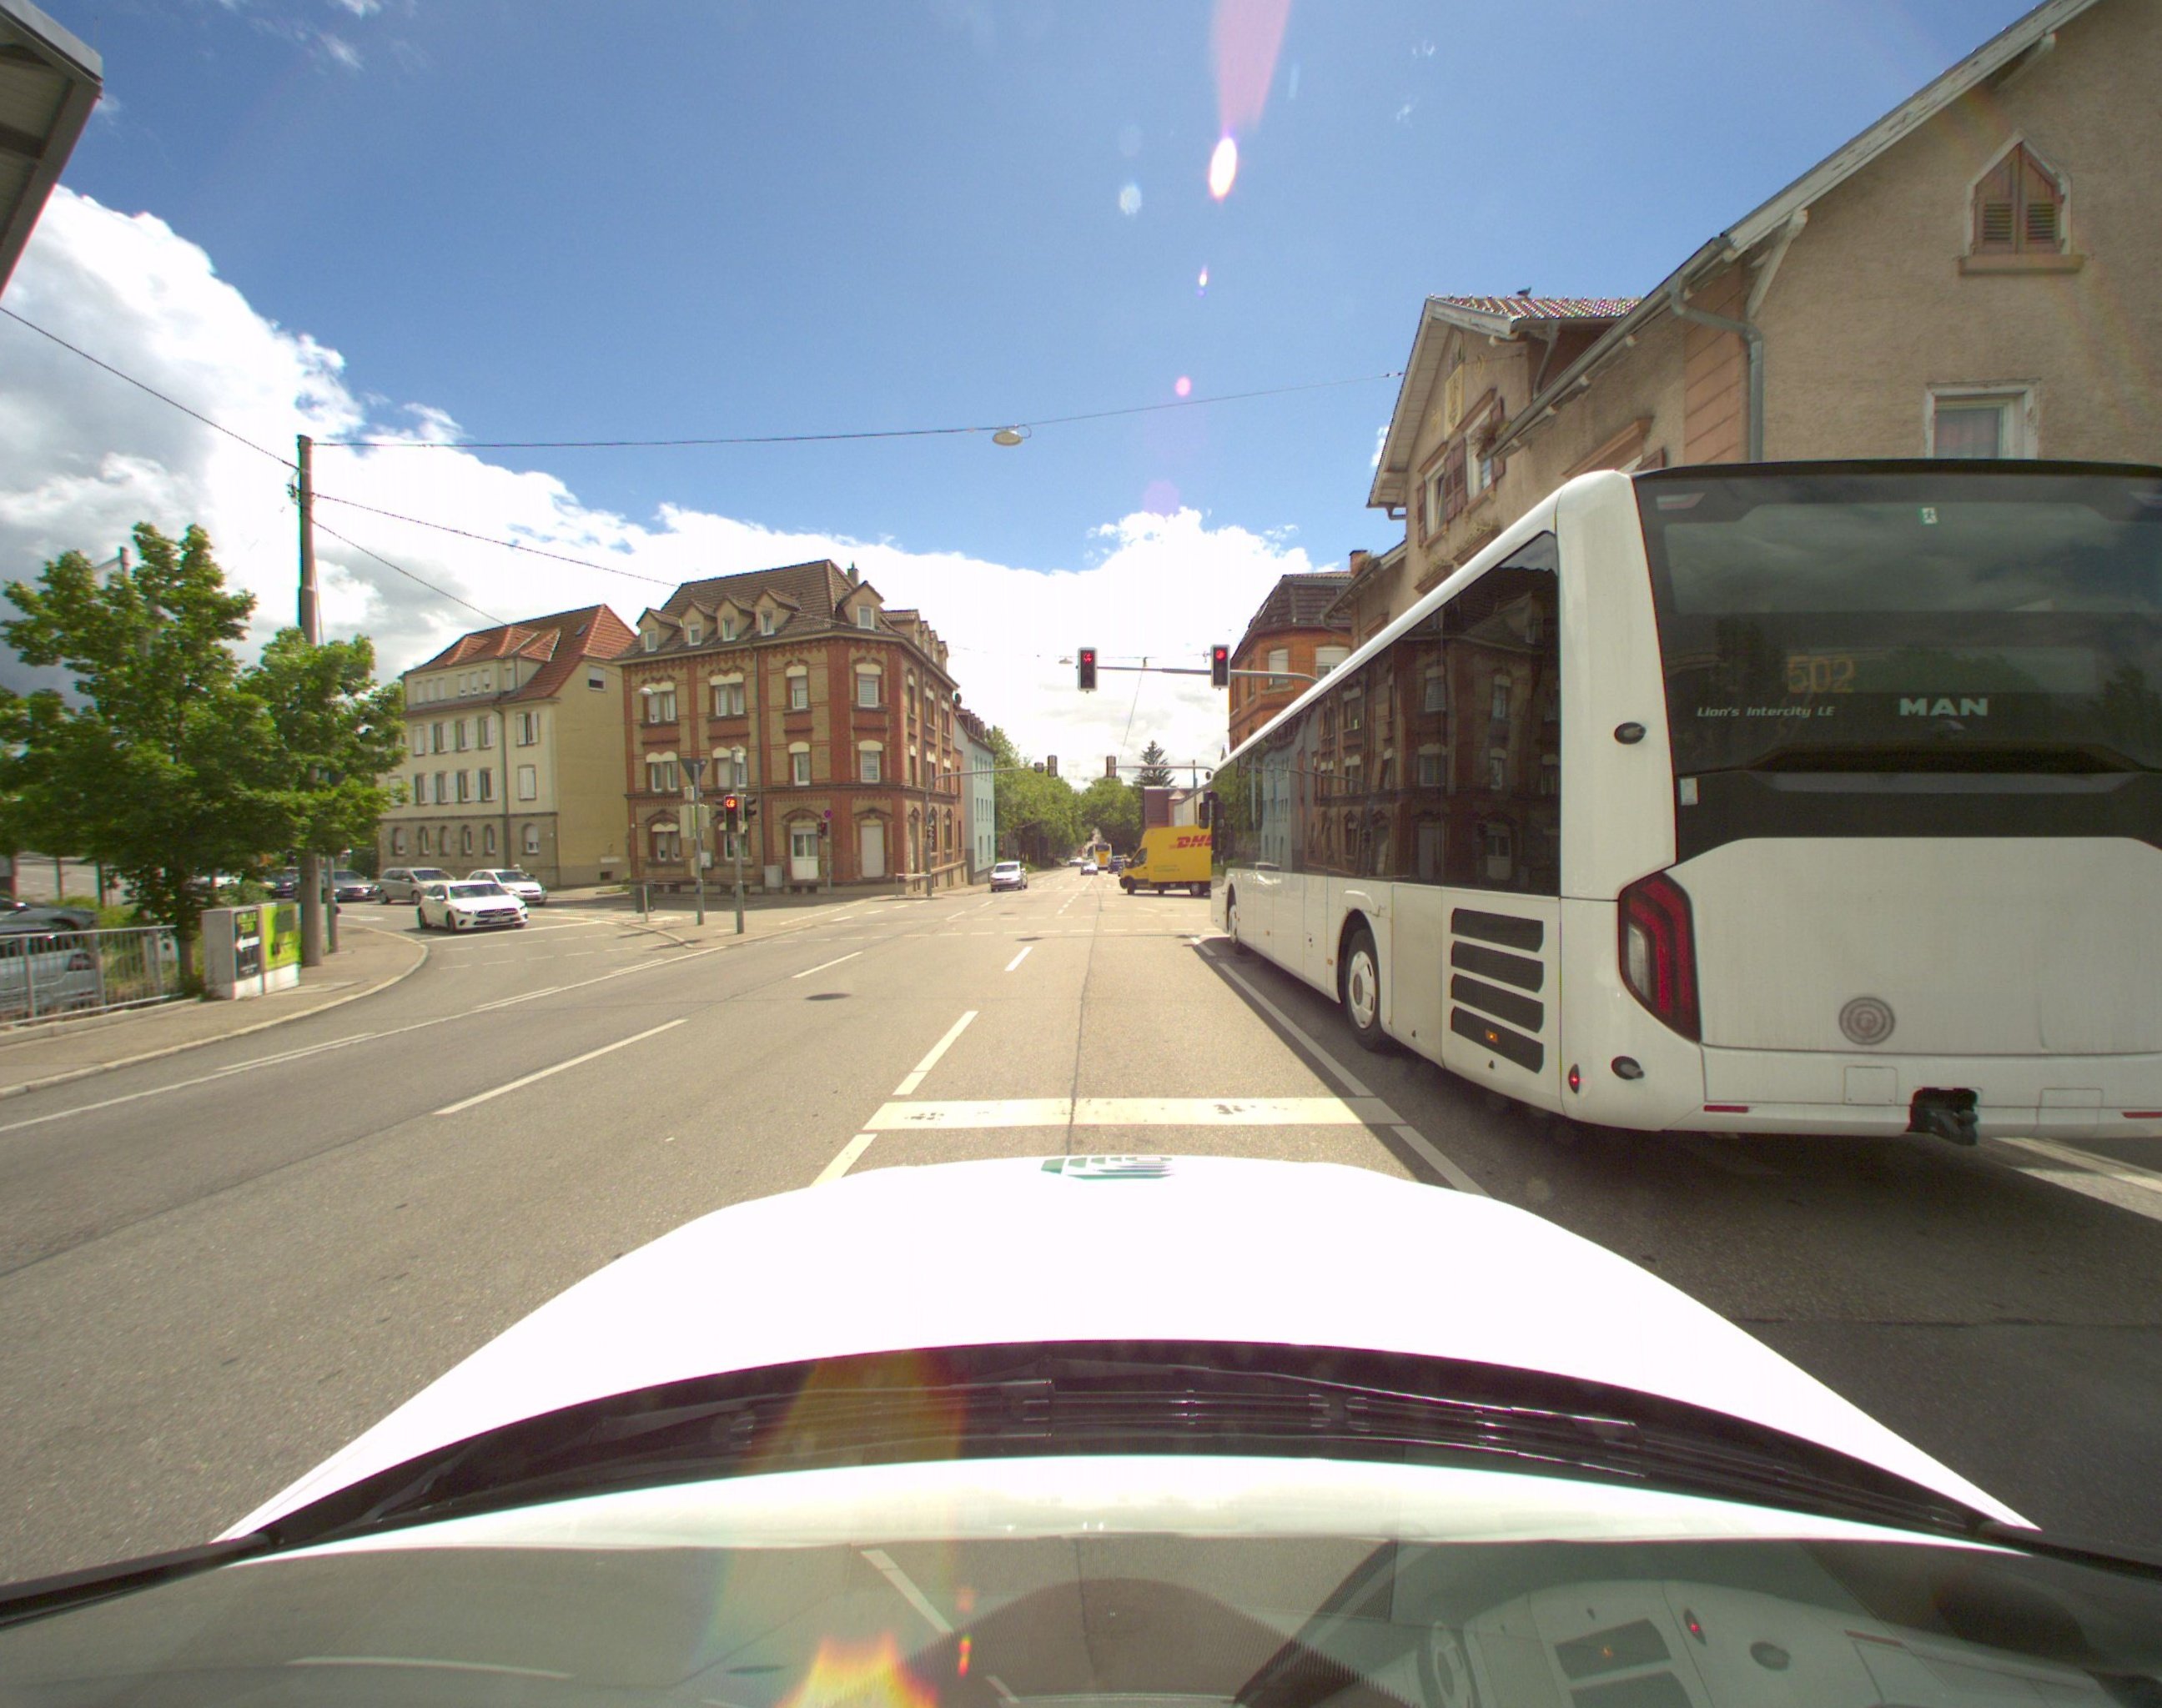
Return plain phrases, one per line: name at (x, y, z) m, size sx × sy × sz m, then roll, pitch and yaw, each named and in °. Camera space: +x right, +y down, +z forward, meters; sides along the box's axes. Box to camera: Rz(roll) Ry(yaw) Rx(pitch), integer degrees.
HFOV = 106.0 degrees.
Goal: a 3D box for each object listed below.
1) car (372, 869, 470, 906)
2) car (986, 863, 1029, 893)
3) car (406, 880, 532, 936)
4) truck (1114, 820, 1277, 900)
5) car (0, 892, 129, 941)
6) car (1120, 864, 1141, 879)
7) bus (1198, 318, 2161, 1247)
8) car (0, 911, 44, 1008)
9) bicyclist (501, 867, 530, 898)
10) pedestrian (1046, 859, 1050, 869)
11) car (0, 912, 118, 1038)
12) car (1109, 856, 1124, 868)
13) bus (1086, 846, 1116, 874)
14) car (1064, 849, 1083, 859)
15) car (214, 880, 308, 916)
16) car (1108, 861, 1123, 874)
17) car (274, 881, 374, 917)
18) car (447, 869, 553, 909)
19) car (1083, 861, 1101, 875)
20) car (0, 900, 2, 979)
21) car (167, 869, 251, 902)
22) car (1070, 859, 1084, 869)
car at (-29.205, 1.471, 36.055) m, size 3.951 × 1.519 × 1.757 m, roll -1°, pitch 0°, yaw 24°
car at (-4.273, 1.362, 47.764) m, size 1.928 × 1.563 × 4.390 m, roll -2°, pitch 0°, yaw 2°
car at (-18.242, 1.542, 24.222) m, size 4.334 × 1.447 × 1.875 m, roll -2°, pitch 0°, yaw 37°
truck at (4.464, 0.243, 32.989) m, size 2.562 × 2.913 × 6.496 m, roll 0°, pitch -1°, yaw -39°
car at (-29.251, 1.730, 22.220) m, size 1.795 × 1.186 × 4.025 m, roll -1°, pitch 0°, yaw 31°
car at (4.691, 1.662, 78.222) m, size 1.858 × 1.367 × 4.549 m, roll -2°, pitch 0°, yaw 2°
bus at (3.500, -0.229, 9.329) m, size 2.893 × 3.510 × 12.492 m, roll 0°, pitch -1°, yaw 2°
car at (-19.709, 1.832, 14.159) m, size 3.744 × 1.523 × 1.526 m, roll -1°, pitch 0°, yaw 30°
bicyclist at (-27.976, 1.402, 40.290) m, size 1.065 × 1.499 × 0.592 m, roll -2°, pitch 0°, yaw 10°
pedestrian at (-5.521, 1.647, 136.853) m, size 0.604 × 1.758 × 0.653 m, roll -2°, pitch 0°, yaw 0°
car at (-16.114, 1.740, 12.189) m, size 3.638 × 1.575 × 1.766 m, roll -1°, pitch -2°, yaw 34°
car at (5.615, 1.279, 129.219) m, size 2.086 × 1.830 × 4.140 m, roll -1°, pitch 0°, yaw -1°
bus at (2.653, 0.791, 113.739) m, size 3.292 × 3.631 × 11.233 m, roll -2°, pitch 0°, yaw -2°
car at (-2.124, -0.030, 239.158) m, size 5.657 × 3.070 × 2.122 m, roll 0°, pitch -1°, yaw -43°
car at (-40.985, 2.217, 40.697) m, size 3.951 × 1.642 × 2.011 m, roll -2°, pitch 0°, yaw 24°
car at (3.721, 1.461, 88.309) m, size 1.603 × 1.376 × 4.002 m, roll -2°, pitch 0°, yaw 2°
car at (-35.449, 2.080, 38.147) m, size 3.951 × 1.519 × 2.011 m, roll -1°, pitch 0°, yaw 24°
car at (-23.596, 1.393, 33.068) m, size 3.951 × 1.497 × 1.711 m, roll -1°, pitch 0°, yaw 24°
car at (1.188, 1.480, 87.719) m, size 1.858 × 1.367 × 4.549 m, roll -2°, pitch 0°, yaw 2°
car at (-23.401, 1.736, 16.438) m, size 3.371 × 1.575 × 1.526 m, roll -1°, pitch 0°, yaw 30°
car at (-46.072, 1.632, 43.013) m, size 4.291 × 1.586 × 2.012 m, roll -1°, pitch 0°, yaw 29°
car at (-0.662, 1.709, 142.652) m, size 2.199 × 1.613 × 4.549 m, roll -2°, pitch 0°, yaw 2°
